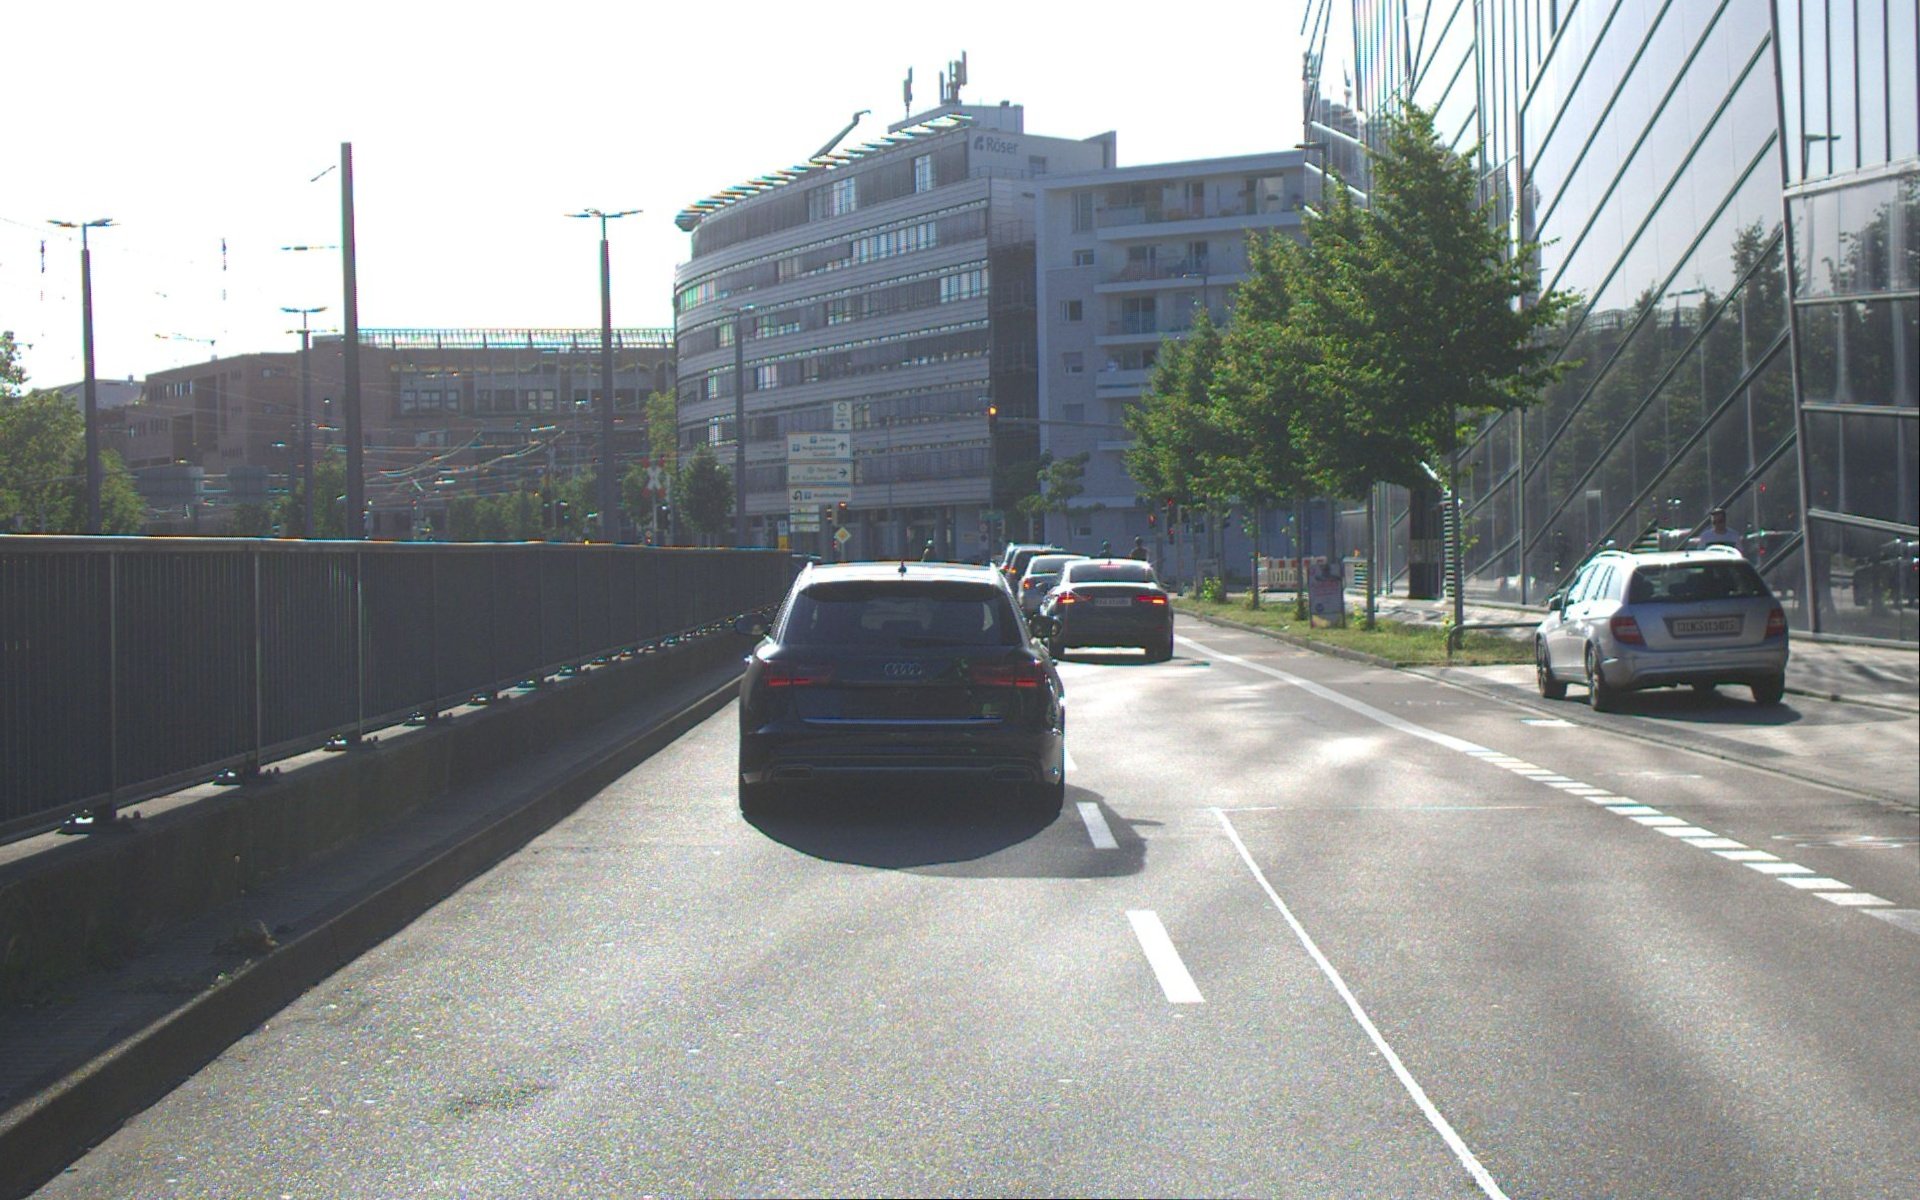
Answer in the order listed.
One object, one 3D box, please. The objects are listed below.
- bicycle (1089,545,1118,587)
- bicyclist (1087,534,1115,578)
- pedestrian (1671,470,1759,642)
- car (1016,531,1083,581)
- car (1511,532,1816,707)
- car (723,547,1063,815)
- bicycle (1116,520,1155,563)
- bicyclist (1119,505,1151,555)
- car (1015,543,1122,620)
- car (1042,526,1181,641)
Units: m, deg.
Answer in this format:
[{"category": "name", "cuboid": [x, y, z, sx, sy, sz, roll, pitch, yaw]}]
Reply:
[{"category": "bicycle", "cuboid": [4.222, -1.003, 101.226, 0.724, 1.180, 2.093, -2, 1, 0]}, {"category": "bicyclist", "cuboid": [4.149, -1.301, 101.212, 0.724, 1.264, 1.036, -2, 1, 0]}, {"category": "pedestrian", "cuboid": [8.953, -0.523, 40.783, 0.836, 2.007, 0.689, -2, 1, 1]}, {"category": "car", "cuboid": [2.759, -1.368, 105.960, 1.993, 1.460, 4.000, 0, 2, 2]}, {"category": "car", "cuboid": [6.713, 0.128, 33.332, 1.852, 1.476, 4.854, -2, 1, -1]}, {"category": "car", "cuboid": [-0.392, 0.407, 20.907, 1.812, 1.422, 4.690, -1, 1, -1]}, {"category": "bicycle", "cuboid": [5.080, -1.694, 99.712, 0.724, 1.180, 2.094, -2, 1, -7]}, {"category": "bicyclist", "cuboid": [5.082, -2.020, 99.728, 0.724, 1.413, 0.892, -2, 1, -7]}, {"category": "car", "cuboid": [2.190, -0.408, 70.375, 1.993, 1.460, 4.001, 0, 2, -1]}, {"category": "car", "cuboid": [2.115, -0.272, 48.885, 1.853, 1.541, 4.000, 1, 1, 1]}]
